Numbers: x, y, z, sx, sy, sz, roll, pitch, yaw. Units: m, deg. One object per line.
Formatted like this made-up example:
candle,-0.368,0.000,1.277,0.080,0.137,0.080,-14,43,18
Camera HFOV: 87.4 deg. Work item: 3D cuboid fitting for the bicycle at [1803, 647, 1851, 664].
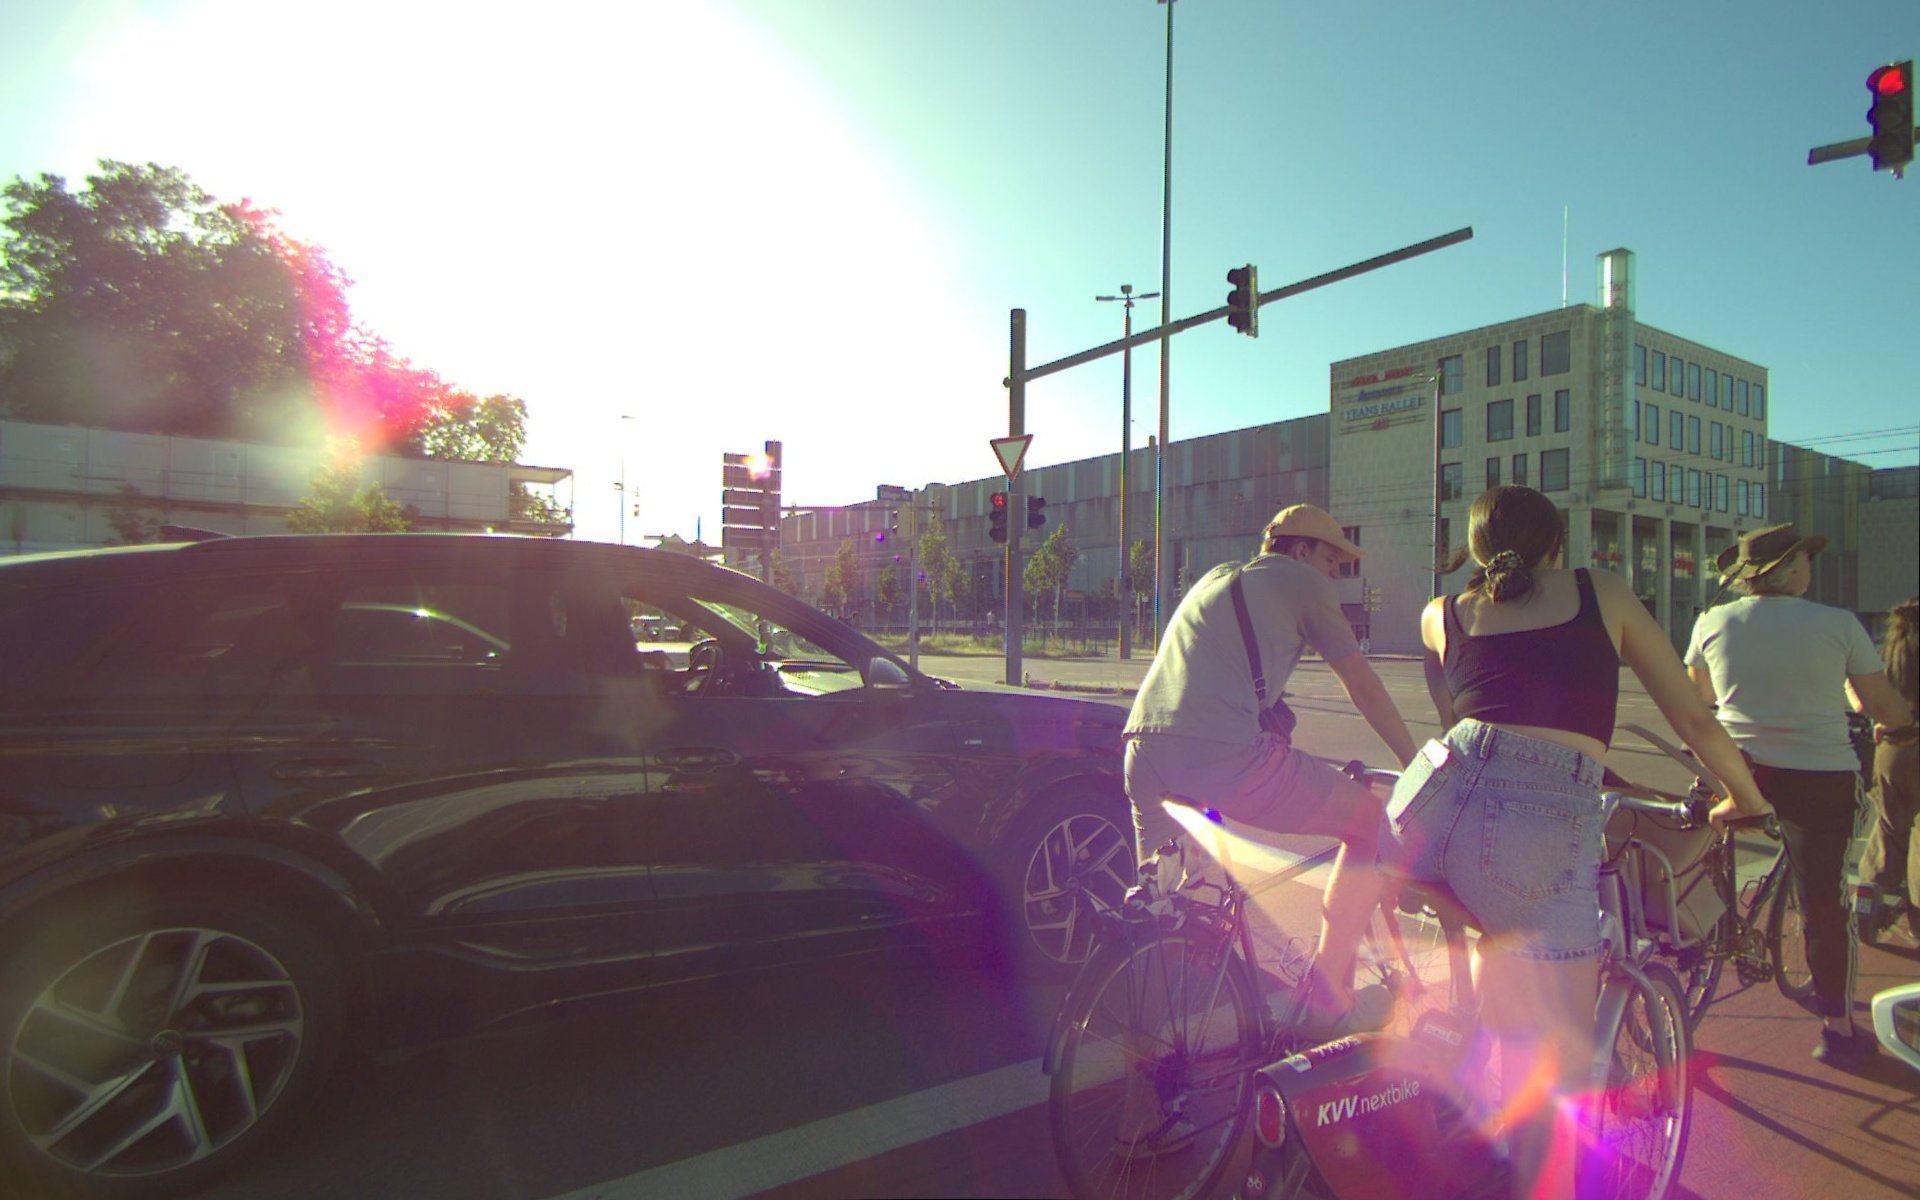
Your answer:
bicycle,59.662,3.823,69.162,0.652,1.125,2.458,1,-2,-28

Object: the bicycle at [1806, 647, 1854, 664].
bicycle,60.204,3.849,69.500,0.623,1.125,2.458,1,-2,-28

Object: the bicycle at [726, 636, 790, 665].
bicycle,-7.039,1.757,35.061,2.057,0.939,0.797,0,-1,-36

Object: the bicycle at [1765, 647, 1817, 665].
bicycle,53.917,3.622,65.178,0.824,1.125,2.458,1,-2,-28

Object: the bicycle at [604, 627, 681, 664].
bicycle,-9.030,1.287,28.644,2.041,0.991,0.803,0,0,-14

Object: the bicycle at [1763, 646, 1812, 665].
bicycle,54.441,3.649,66.096,0.675,1.125,2.458,1,-2,-28

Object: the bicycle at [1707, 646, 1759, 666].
bicycle,46.832,3.397,60.869,0.676,1.125,2.457,1,-2,-29

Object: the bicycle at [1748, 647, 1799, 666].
bicycle,51.525,3.550,63.656,0.586,1.125,2.458,1,-2,-28

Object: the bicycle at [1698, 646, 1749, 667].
bicycle,45.700,3.370,60.169,0.650,1.127,2.391,1,-2,-29

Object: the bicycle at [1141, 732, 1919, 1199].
bicycle,1.270,0.906,2.111,1.780,1.108,0.647,1,-1,-32

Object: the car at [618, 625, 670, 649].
car,-19.134,2.205,60.766,1.980,1.394,3.962,0,-1,-34

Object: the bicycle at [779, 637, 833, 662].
bicycle,-6.064,1.921,39.492,2.042,0.939,0.803,0,0,-14

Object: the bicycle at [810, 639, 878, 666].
bicycle,-4.225,1.909,36.767,2.361,0.953,0.752,1,-1,-24

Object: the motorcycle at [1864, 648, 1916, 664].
motorcycle,67.668,4.069,73.072,0.908,1.009,2.649,2,0,-36

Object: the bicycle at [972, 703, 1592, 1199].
bicycle,0.959,0.902,2.788,1.795,1.131,0.620,1,-1,-31

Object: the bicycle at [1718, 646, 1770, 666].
bicycle,48.013,3.432,61.520,0.675,1.125,2.459,1,-2,-27

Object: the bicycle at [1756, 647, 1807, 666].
bicycle,52.562,3.585,64.282,0.675,1.125,2.458,1,-2,-28

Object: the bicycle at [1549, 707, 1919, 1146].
bicycle,2.934,0.992,3.583,1.780,1.108,0.703,1,-1,-32

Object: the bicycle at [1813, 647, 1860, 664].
bicycle,61.257,3.874,70.220,0.652,1.125,2.458,1,-2,-28

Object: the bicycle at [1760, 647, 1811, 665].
bicycle,53.191,3.599,64.729,0.675,1.125,2.458,1,-2,-28

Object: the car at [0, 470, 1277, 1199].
car,-1.158,0.612,4.100,4.740,1.684,2.182,1,-1,-33

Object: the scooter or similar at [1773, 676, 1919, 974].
scooter or similar,4.563,0.996,4.794,1.468,1.191,0.638,1,0,-33

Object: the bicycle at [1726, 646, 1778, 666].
bicycle,48.746,3.435,61.845,0.675,1.125,2.458,1,-2,-28

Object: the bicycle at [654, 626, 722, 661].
bicycle,-8.139,1.296,30.042,1.946,1.010,0.647,0,-1,-17

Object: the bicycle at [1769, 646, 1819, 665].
bicycle,55.459,3.684,66.810,0.824,1.125,2.458,1,-2,-28

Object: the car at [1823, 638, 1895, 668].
car,49.841,2.904,55.680,4.247,1.602,1.927,1,-2,-32

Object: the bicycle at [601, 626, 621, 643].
bicycle,-20.857,2.064,59.985,0.795,0.939,2.062,0,-1,-28

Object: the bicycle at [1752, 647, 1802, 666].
bicycle,52.018,3.566,63.960,0.531,1.125,2.458,1,-2,-28

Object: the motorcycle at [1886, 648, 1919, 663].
motorcycle,70.688,4.169,74.649,0.908,1.009,2.649,2,0,-36

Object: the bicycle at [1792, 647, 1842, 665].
bicycle,58.360,3.784,68.421,0.824,1.125,2.458,1,-2,-28

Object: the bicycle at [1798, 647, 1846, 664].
bicycle,59.033,3.796,68.824,0.652,1.125,2.458,1,-2,-28
